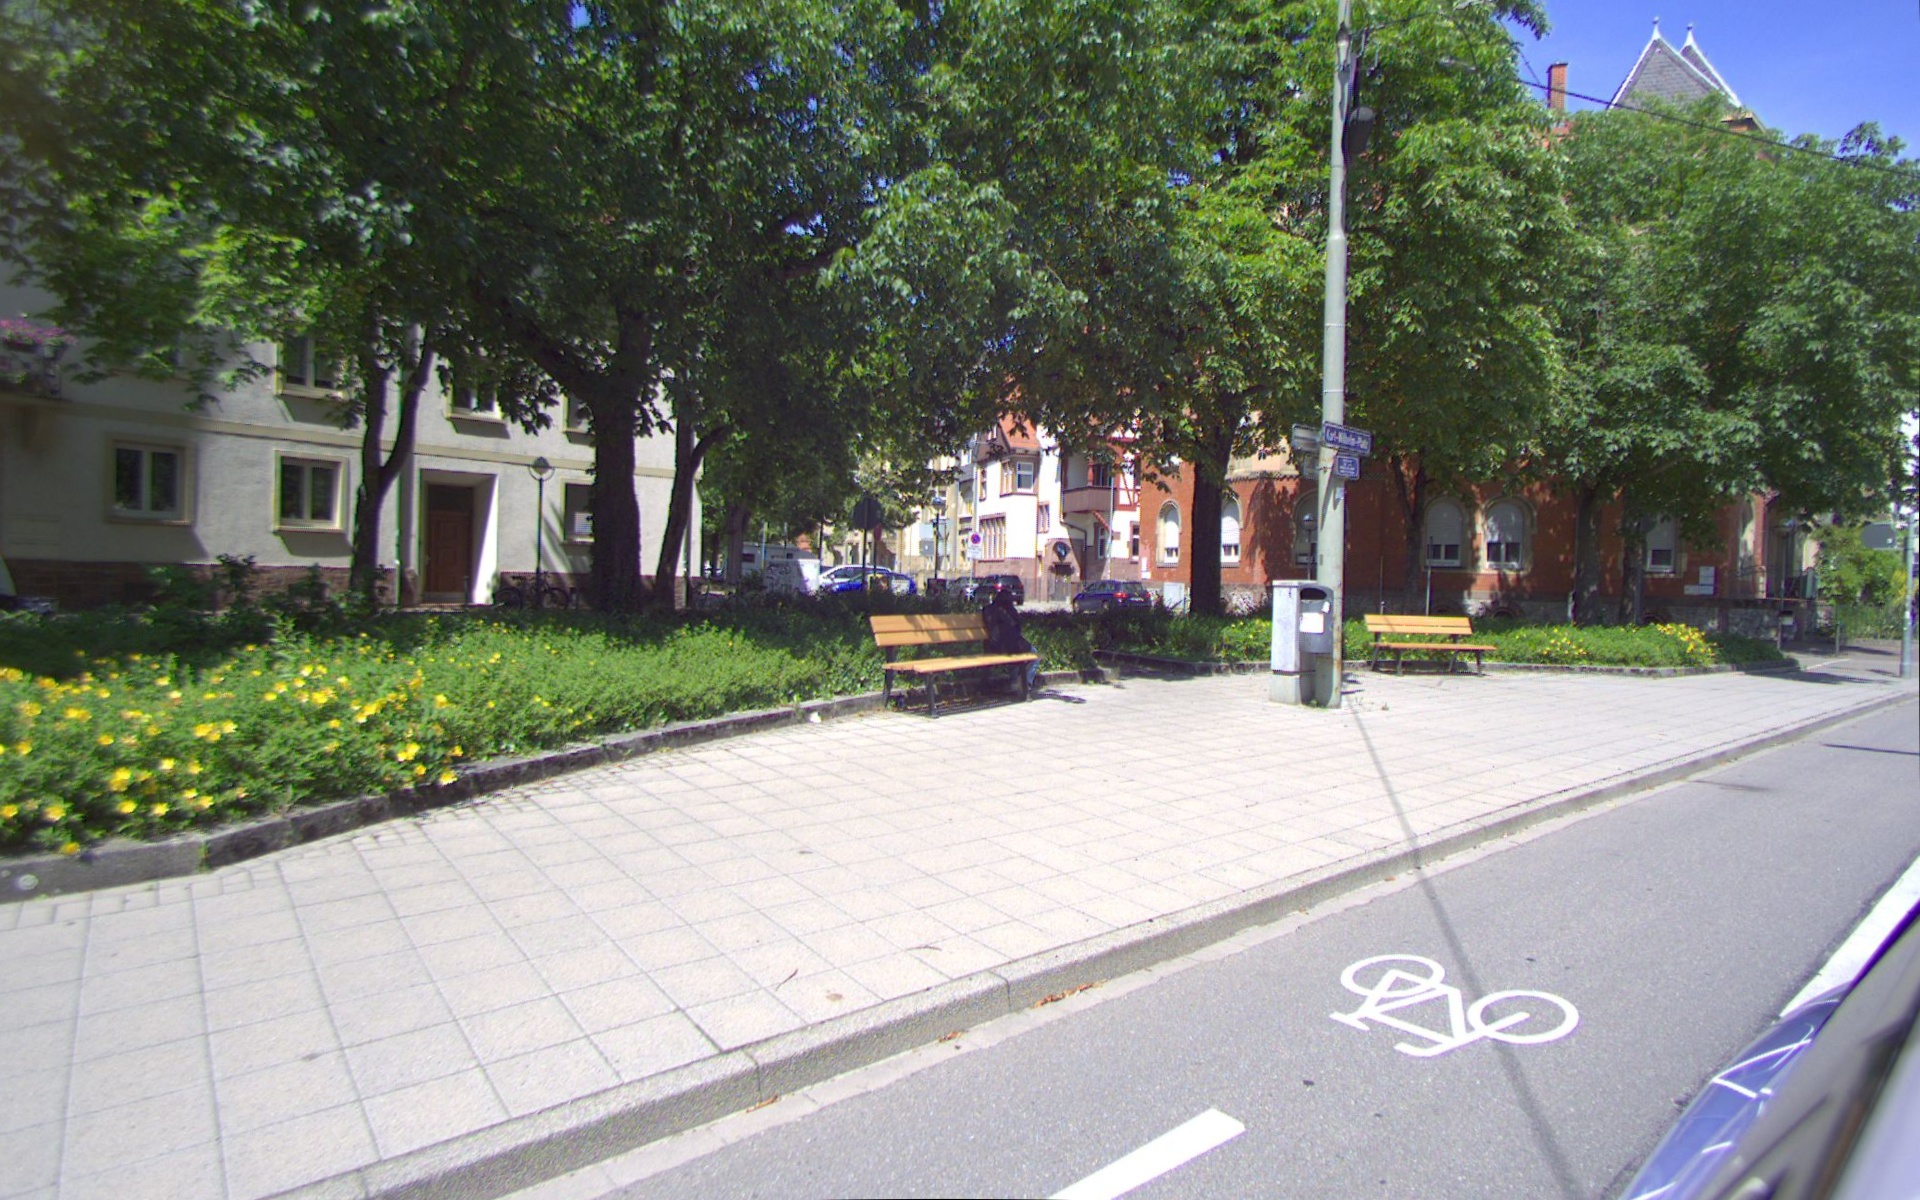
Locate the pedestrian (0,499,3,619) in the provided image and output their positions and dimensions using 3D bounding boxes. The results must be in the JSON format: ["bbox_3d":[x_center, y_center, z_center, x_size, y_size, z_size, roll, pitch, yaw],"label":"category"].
[{"bbox_3d":[-16.814,-0.693,17.077,0.800,2.039,0.765,1,1,29],"label":"pedestrian"}]

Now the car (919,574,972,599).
[{"bbox_3d":[-0.985,-0.888,63.752,1.865,1.482,4.626,0,1,-21],"label":"car"}]

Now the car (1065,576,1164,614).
[{"bbox_3d":[6.192,-0.252,41.197,1.865,1.459,4.769,0,1,-21],"label":"car"}]

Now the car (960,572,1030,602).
[{"bbox_3d":[1.825,-0.729,54.635,1.946,1.551,5.503,0,1,-19],"label":"car"}]

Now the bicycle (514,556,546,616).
[{"bbox_3d":[-10.201,-0.341,23.993,0.505,1.364,2.247,0,1,-28],"label":"bicycle"}]

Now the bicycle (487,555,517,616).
[{"bbox_3d":[-10.757,-0.344,23.739,0.505,1.361,2.332,0,1,-28],"label":"bicycle"}]

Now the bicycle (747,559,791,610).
[{"bbox_3d":[-5.132,-0.416,27.128,0.536,1.316,2.162,0,1,-28],"label":"bicycle"}]

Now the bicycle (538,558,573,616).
[{"bbox_3d":[-9.599,-0.326,23.987,0.536,1.316,2.162,0,1,-28],"label":"bicycle"}]

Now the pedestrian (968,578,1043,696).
[{"bbox_3d":[0.446,0.359,10.036,0.469,1.105,0.511,2,2,-34],"label":"pedestrian"}]

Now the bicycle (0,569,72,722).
[{"bbox_3d":[-9.792,0.452,9.557,0.585,1.504,2.158,1,1,15],"label":"bicycle"}]

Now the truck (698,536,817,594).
[{"bbox_3d":[-12.096,-2.055,60.636,6.685,3.193,1.939,2,0,-19],"label":"truck"}]

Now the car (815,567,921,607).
[{"bbox_3d":[-3.636,-0.511,39.997,3.807,1.447,1.731,2,0,-21],"label":"car"}]

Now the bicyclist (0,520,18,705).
[{"bbox_3d":[-9.741,0.123,9.909,0.595,1.822,0.532,1,1,15],"label":"bicyclist"}]

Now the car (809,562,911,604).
[{"bbox_3d":[-4.463,-0.756,45.152,4.176,1.673,1.731,2,0,-21],"label":"car"}]

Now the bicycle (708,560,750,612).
[{"bbox_3d":[-6.108,-0.374,26.650,0.536,1.316,2.162,0,1,-28],"label":"bicycle"}]

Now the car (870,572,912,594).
[{"bbox_3d":[-5.090,-1.264,74.480,1.865,1.575,4.411,0,1,-21],"label":"car"}]

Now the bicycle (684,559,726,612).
[{"bbox_3d":[-6.662,-0.388,26.356,0.536,1.316,2.162,0,1,-28],"label":"bicycle"}]
